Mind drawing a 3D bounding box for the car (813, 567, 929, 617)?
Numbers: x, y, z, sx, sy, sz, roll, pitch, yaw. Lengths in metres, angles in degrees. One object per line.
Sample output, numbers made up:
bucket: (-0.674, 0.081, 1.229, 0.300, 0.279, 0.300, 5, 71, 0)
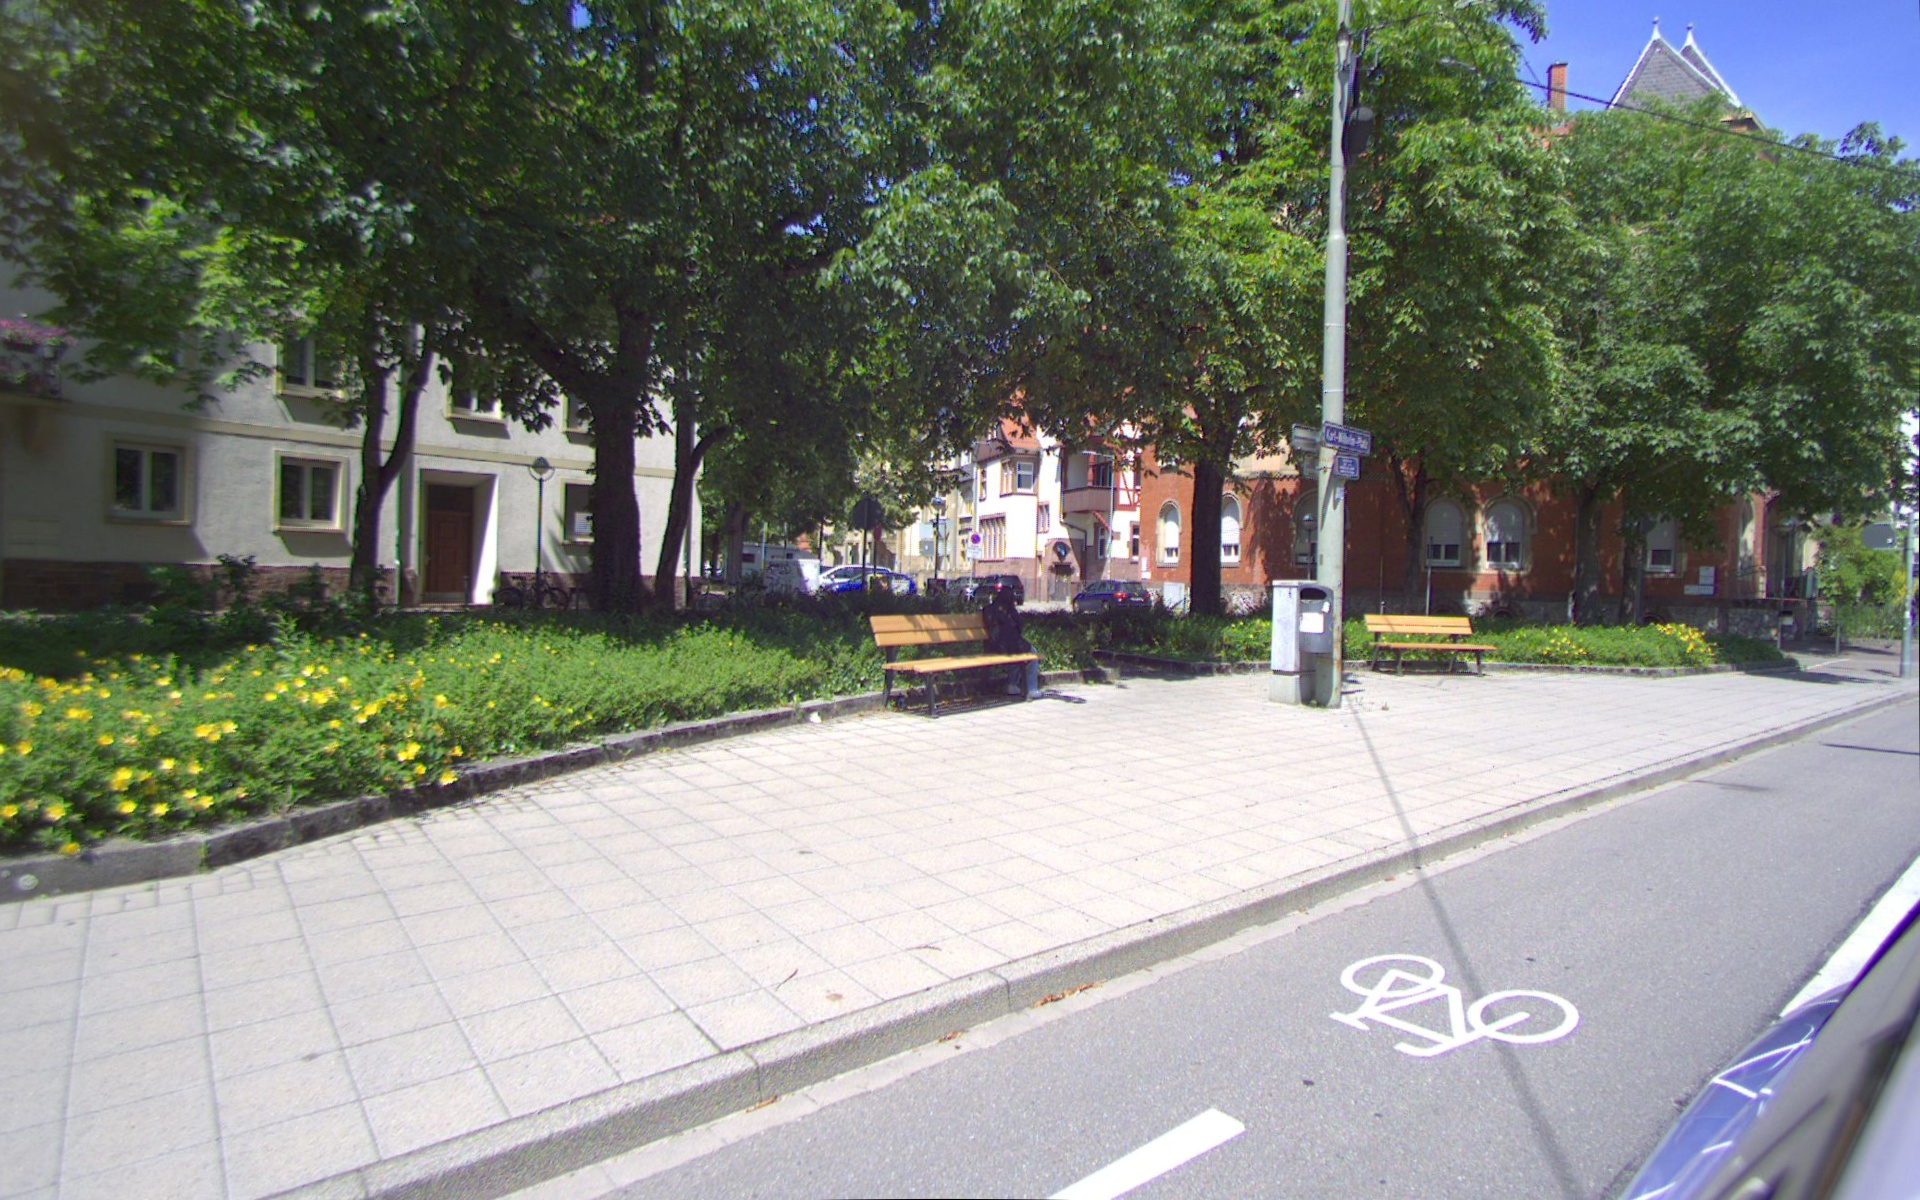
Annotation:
car: (-3.549, -0.322, 40.017, 4.219, 1.903, 1.942, 0, 0, -18)

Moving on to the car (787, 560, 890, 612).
car: (-5.377, -0.628, 44.830, 4.219, 2.219, 1.942, 0, 0, -18)

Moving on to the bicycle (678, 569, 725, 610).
bicycle: (-6.780, -0.261, 26.476, 0.736, 1.024, 2.273, 0, 0, -26)

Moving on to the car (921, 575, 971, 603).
car: (-0.924, -0.688, 63.254, 1.897, 1.638, 4.318, 0, 0, -19)

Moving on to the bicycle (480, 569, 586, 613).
bicycle: (-10.257, -0.225, 24.376, 2.230, 1.024, 0.751, -1, 0, -41)

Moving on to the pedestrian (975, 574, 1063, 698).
pedestrian: (0.594, 0.335, 10.076, 0.562, 1.156, 0.718, 3, 2, 33)

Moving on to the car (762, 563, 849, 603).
car: (-8.090, -0.883, 52.939, 4.219, 2.029, 1.942, 0, 0, -18)

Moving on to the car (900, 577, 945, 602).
car: (-2.572, -0.724, 67.950, 1.897, 1.638, 4.318, 0, 0, -19)

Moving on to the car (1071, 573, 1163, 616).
car: (6.270, -0.230, 41.027, 1.897, 1.638, 4.318, 0, 0, -19)

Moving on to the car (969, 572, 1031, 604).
car: (2.060, -0.617, 54.076, 1.897, 1.638, 4.318, 0, 0, -19)

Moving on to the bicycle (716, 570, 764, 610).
bicycle: (-5.873, -0.270, 26.905, 0.736, 1.024, 2.273, 0, 0, -26)

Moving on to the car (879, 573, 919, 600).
car: (-4.508, -1.003, 74.463, 1.897, 1.897, 4.318, 0, 0, -19)

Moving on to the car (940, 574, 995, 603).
car: (0.374, -0.652, 58.683, 1.897, 1.638, 4.318, 0, 0, -19)
